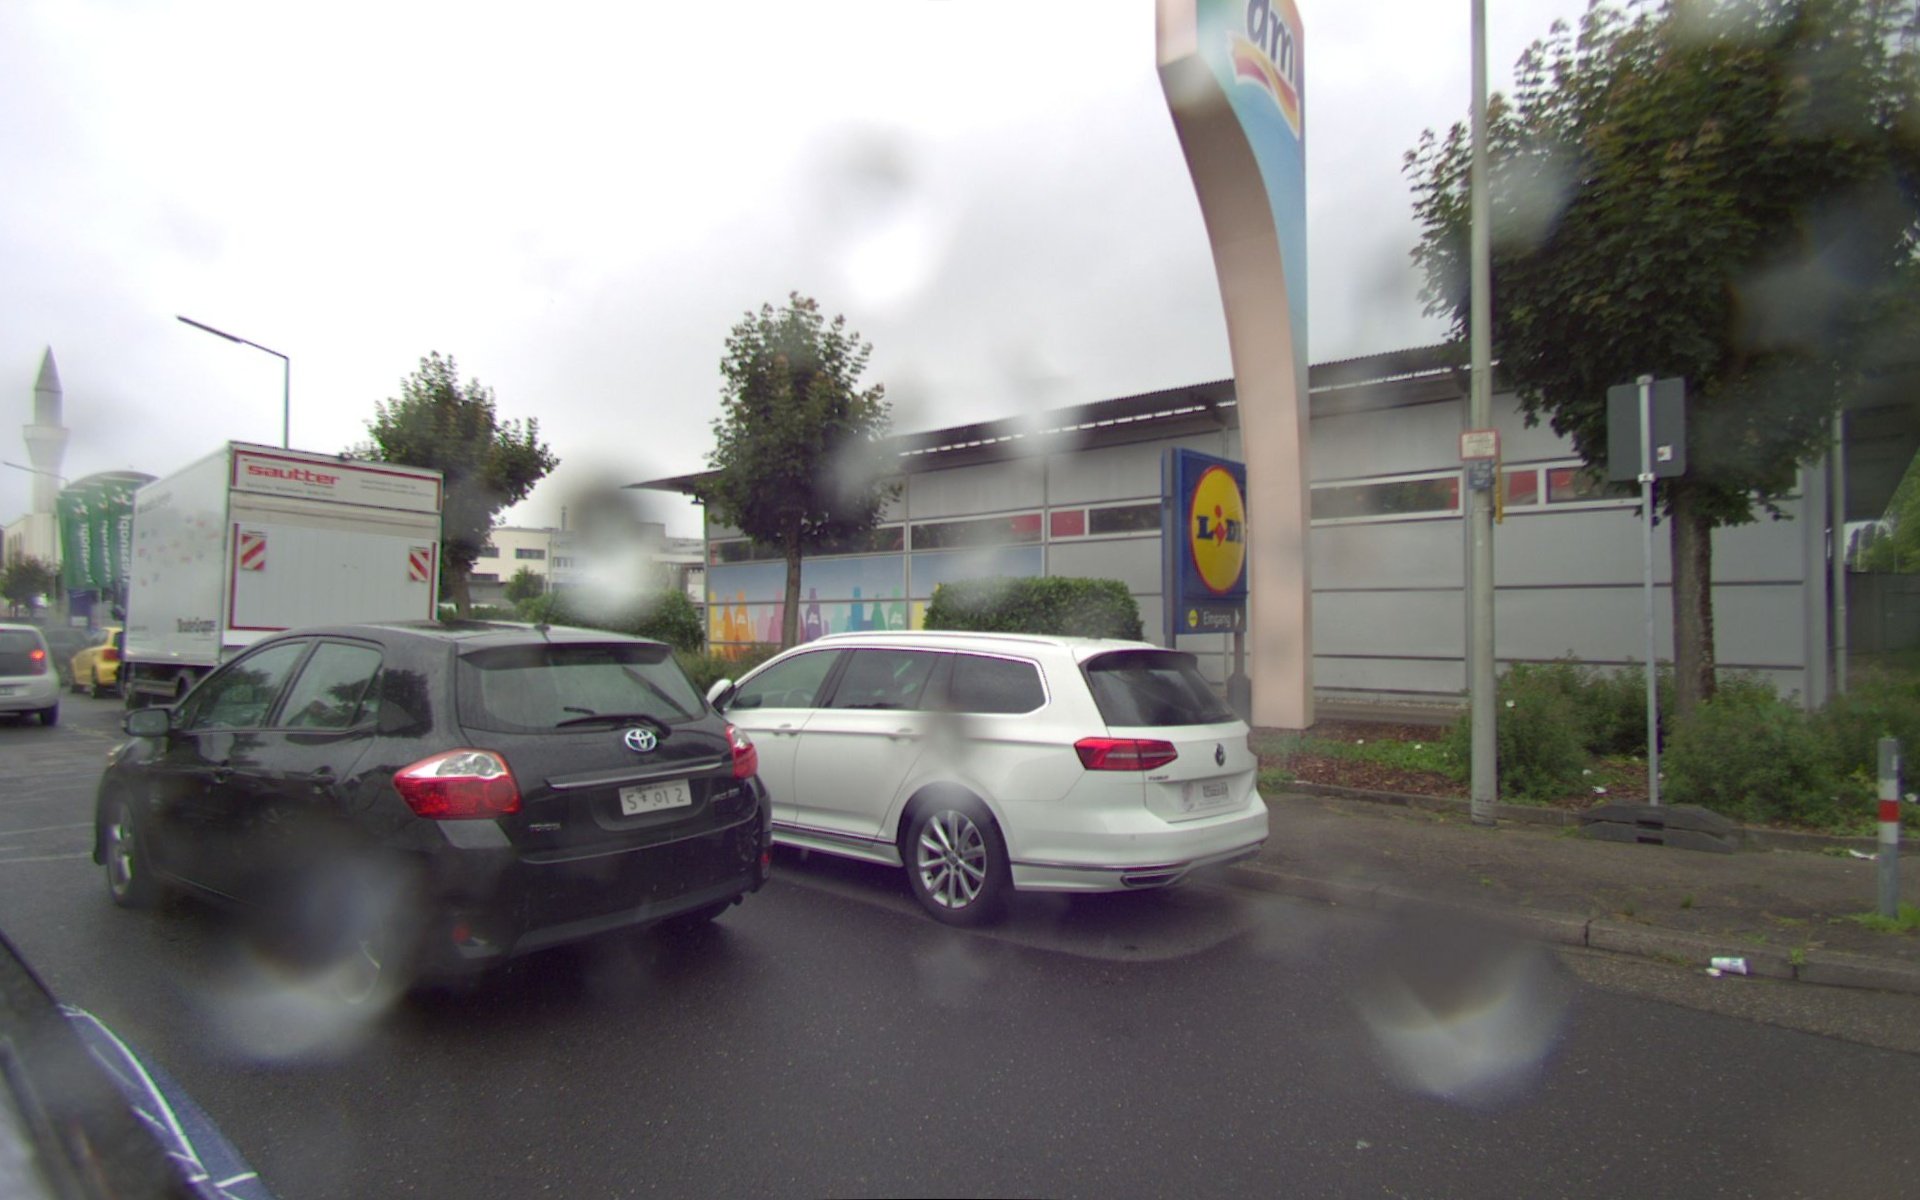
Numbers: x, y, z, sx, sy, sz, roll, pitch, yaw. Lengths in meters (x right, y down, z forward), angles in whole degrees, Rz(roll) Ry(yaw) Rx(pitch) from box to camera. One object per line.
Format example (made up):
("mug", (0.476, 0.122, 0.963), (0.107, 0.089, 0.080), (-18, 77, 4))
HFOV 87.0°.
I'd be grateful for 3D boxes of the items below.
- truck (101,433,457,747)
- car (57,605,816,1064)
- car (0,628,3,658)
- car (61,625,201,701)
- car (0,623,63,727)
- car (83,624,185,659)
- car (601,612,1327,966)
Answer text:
("truck", (-10.949, -0.034, 15.867), (7.866, 3.775, 2.850), (-1, -2, 43))
("car", (-2.781, 0.811, 5.084), (3.990, 1.452, 1.716), (-1, -3, 35))
("car", (-45.117, 1.974, 46.266), (3.608, 1.351, 1.559), (-1, -2, 40))
("car", (-17.647, 1.277, 21.502), (3.510, 1.477, 1.670), (-1, -2, 40))
("car", (-14.772, 1.060, 15.031), (3.404, 1.449, 1.595), (-1, -3, 39))
("car", (-40.382, 2.003, 49.537), (1.690, 1.610, 3.565), (-1, -2, 38))
("car", (-0.265, 0.847, 6.349), (4.490, 1.445, 1.816), (-1, -3, 42))
